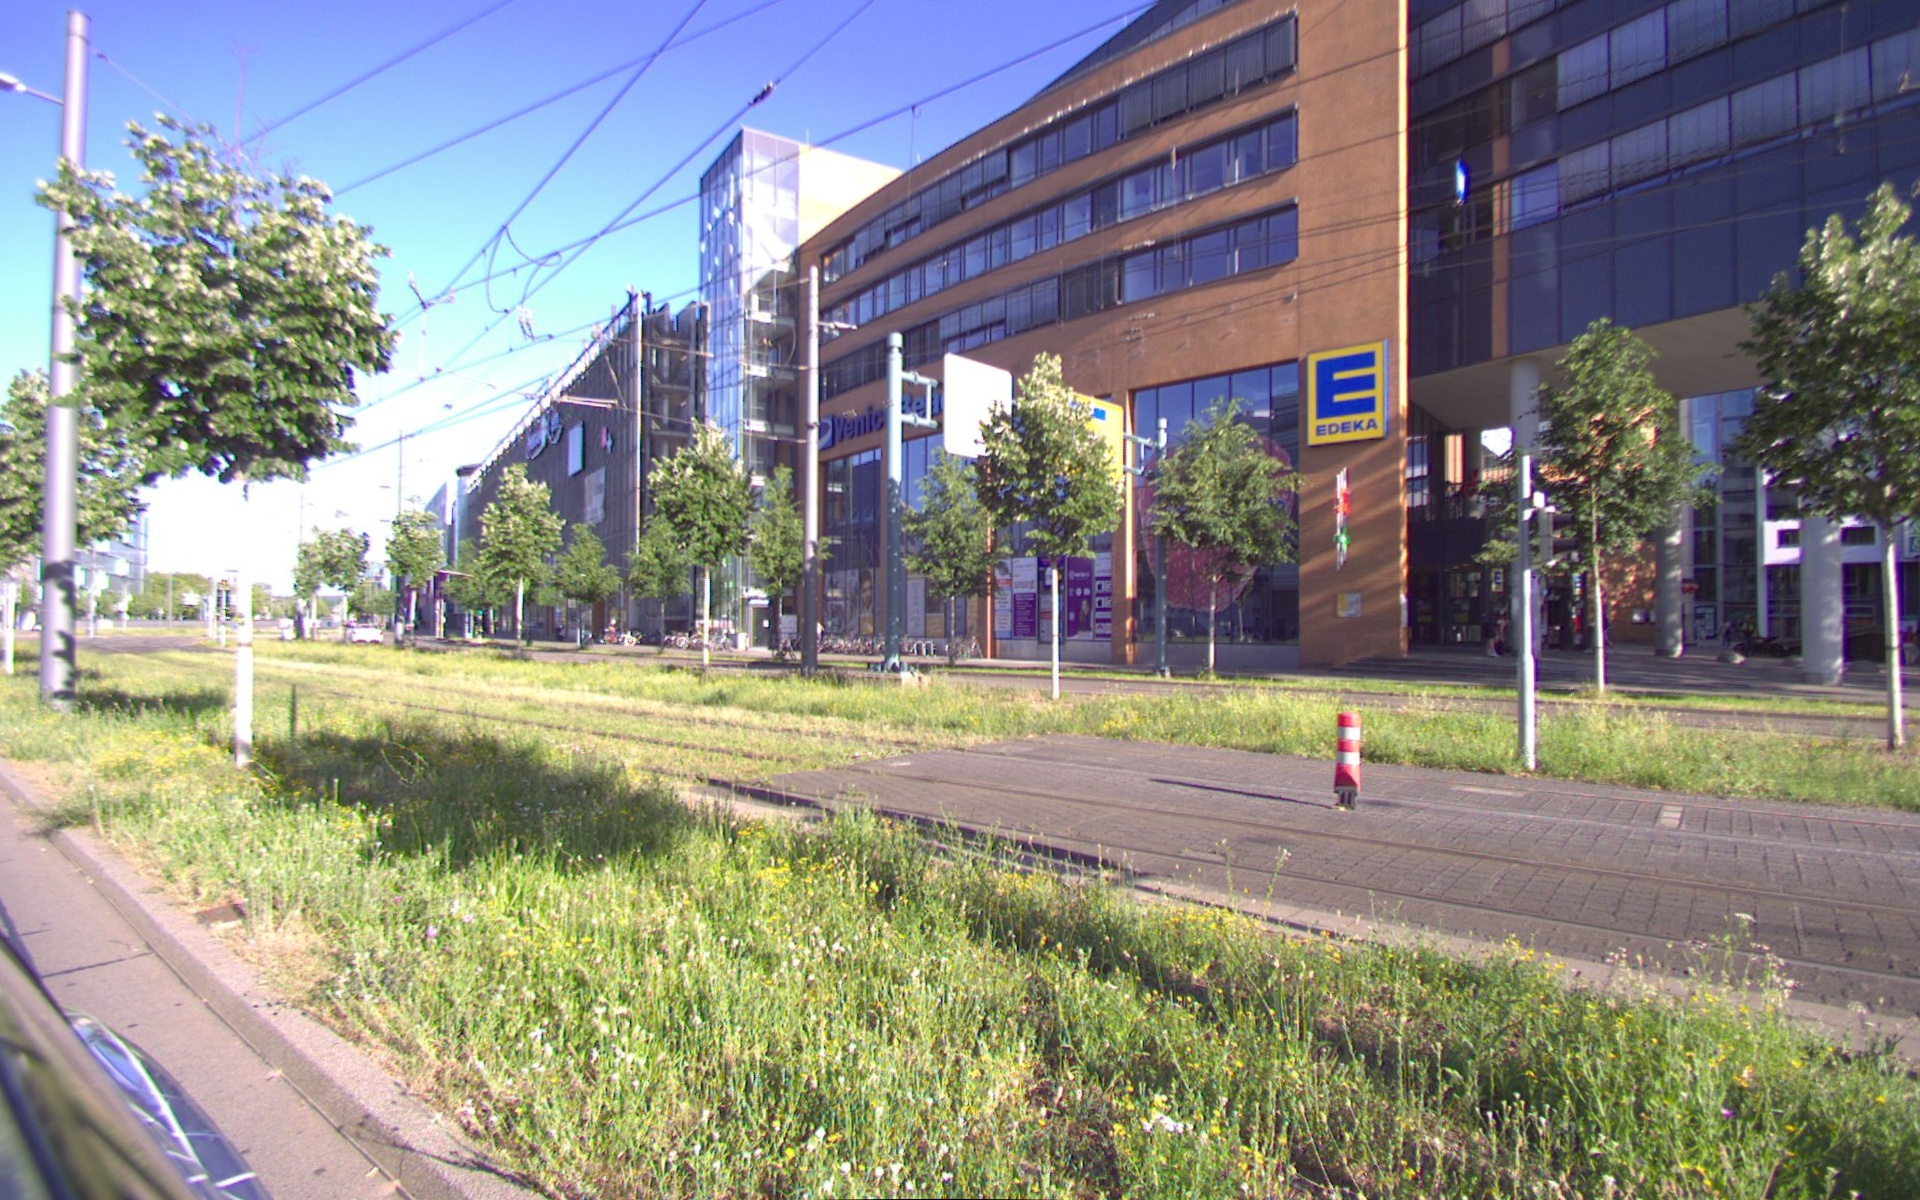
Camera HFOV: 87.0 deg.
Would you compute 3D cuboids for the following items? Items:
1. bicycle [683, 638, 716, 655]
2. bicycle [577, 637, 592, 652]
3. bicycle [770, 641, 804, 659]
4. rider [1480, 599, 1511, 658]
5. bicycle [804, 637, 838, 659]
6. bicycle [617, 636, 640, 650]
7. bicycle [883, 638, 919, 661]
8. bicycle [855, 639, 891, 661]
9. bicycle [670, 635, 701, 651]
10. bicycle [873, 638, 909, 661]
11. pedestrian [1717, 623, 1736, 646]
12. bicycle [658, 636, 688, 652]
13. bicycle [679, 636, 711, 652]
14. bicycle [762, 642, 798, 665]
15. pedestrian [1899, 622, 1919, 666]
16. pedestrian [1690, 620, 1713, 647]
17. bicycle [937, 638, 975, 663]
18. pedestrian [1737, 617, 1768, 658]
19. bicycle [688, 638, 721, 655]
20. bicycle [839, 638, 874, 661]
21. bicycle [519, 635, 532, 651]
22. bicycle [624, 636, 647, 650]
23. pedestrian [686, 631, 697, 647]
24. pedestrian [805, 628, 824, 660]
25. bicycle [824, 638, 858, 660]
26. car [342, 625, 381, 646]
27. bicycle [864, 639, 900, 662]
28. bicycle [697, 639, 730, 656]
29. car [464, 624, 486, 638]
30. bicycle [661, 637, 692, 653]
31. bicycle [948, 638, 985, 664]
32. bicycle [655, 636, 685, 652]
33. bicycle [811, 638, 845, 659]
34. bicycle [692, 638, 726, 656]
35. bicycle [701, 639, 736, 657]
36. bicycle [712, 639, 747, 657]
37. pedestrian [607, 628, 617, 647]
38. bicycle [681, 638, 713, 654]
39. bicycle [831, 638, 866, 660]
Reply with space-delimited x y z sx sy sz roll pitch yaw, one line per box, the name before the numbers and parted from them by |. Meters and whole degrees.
bicycle | -14.957 2.658 58.190 1.741 0.933 0.566 1 -2 -33
bicycle | -22.721 2.675 61.198 0.380 0.875 1.775 1 -2 -36
bicycle | -9.579 2.774 55.997 1.741 0.933 0.566 1 -2 -33
rider | 16.860 0.903 31.874 0.712 1.816 0.710 -1 -2 42
bicycle | -7.058 2.451 51.595 1.744 1.057 0.491 1 -2 -42
bicycle | -22.103 2.845 67.546 1.377 0.933 0.463 1 -2 -33
bicycle | -2.751 2.297 47.114 1.744 1.057 0.491 1 -2 -42
bicycle | -4.176 2.400 48.669 1.744 1.057 0.491 1 -2 -42
bicycle | -16.429 2.547 60.559 1.741 0.933 0.492 1 -2 -33
bicycle | -3.234 2.305 47.603 1.744 1.057 0.491 1 -2 -42
pedestrian | 43.185 1.938 57.044 0.627 1.287 0.664 0 -1 -32
bicycle | -17.584 2.711 62.046 1.741 0.933 0.492 1 -2 -33
bicycle | -15.562 2.585 59.412 1.741 0.933 0.492 1 -2 -33
bicycle | -7.504 2.217 42.132 1.771 0.875 0.458 -1 -2 42
pedestrian | 37.869 1.721 39.849 0.778 1.720 1.113 0 0 -32
pedestrian | 41.773 1.900 57.024 1.038 1.491 0.660 0 -1 -32
bicycle | -0.158 2.182 43.809 1.744 1.057 0.491 1 -2 -42
pedestrian | 33.733 1.573 43.070 0.778 1.720 0.810 0 -1 -32
bicycle | -14.561 2.651 57.633 1.741 0.933 0.566 1 -2 -33
bicycle | -5.060 2.416 49.600 1.744 1.057 0.491 1 -2 -42
bicycle | -27.411 2.701 63.819 0.380 0.930 1.775 1 -2 -36
bicycle | -21.262 2.828 66.345 1.377 0.933 0.463 1 -2 -33
pedestrian | -17.923 2.626 67.595 0.619 1.063 0.450 1 -2 -36
pedestrian | -7.657 2.325 53.288 0.736 1.681 0.676 1 -2 -43
bicycle | -5.941 2.432 50.585 1.744 1.057 0.491 1 -2 -42
car | -39.582 2.333 66.875 1.782 1.338 4.415 2 -2 -36
bicycle | -3.698 2.391 48.149 1.744 1.057 0.491 1 -2 -42
bicycle | -13.739 2.634 56.431 1.741 0.933 0.566 1 -2 -33
car | -56.767 3.596 118.479 1.559 1.541 3.759 0 0 -37
bicycle | -17.201 2.703 61.453 1.741 0.933 0.566 1 -2 -33
bicycle | 0.283 2.173 43.321 1.744 1.057 0.491 1 -2 -42
bicycle | -17.922 2.700 62.584 1.741 0.933 0.492 1 -2 -33
bicycle | -6.657 2.444 51.144 1.744 1.057 0.491 1 -2 -42
bicycle | -14.152 2.642 57.082 1.741 0.933 0.566 1 -2 -33
bicycle | -13.292 2.625 55.717 1.741 0.933 0.566 1 -2 -33
bicycle | -12.512 2.611 54.993 1.741 0.933 0.566 1 -2 -33
pedestrian | -24.005 2.615 69.764 0.442 1.299 0.631 1 -2 -36
bicycle | -15.294 2.668 58.859 1.741 0.933 0.566 1 -2 -33
bicycle | -5.523 2.424 50.100 1.744 1.057 0.491 1 -2 -42
